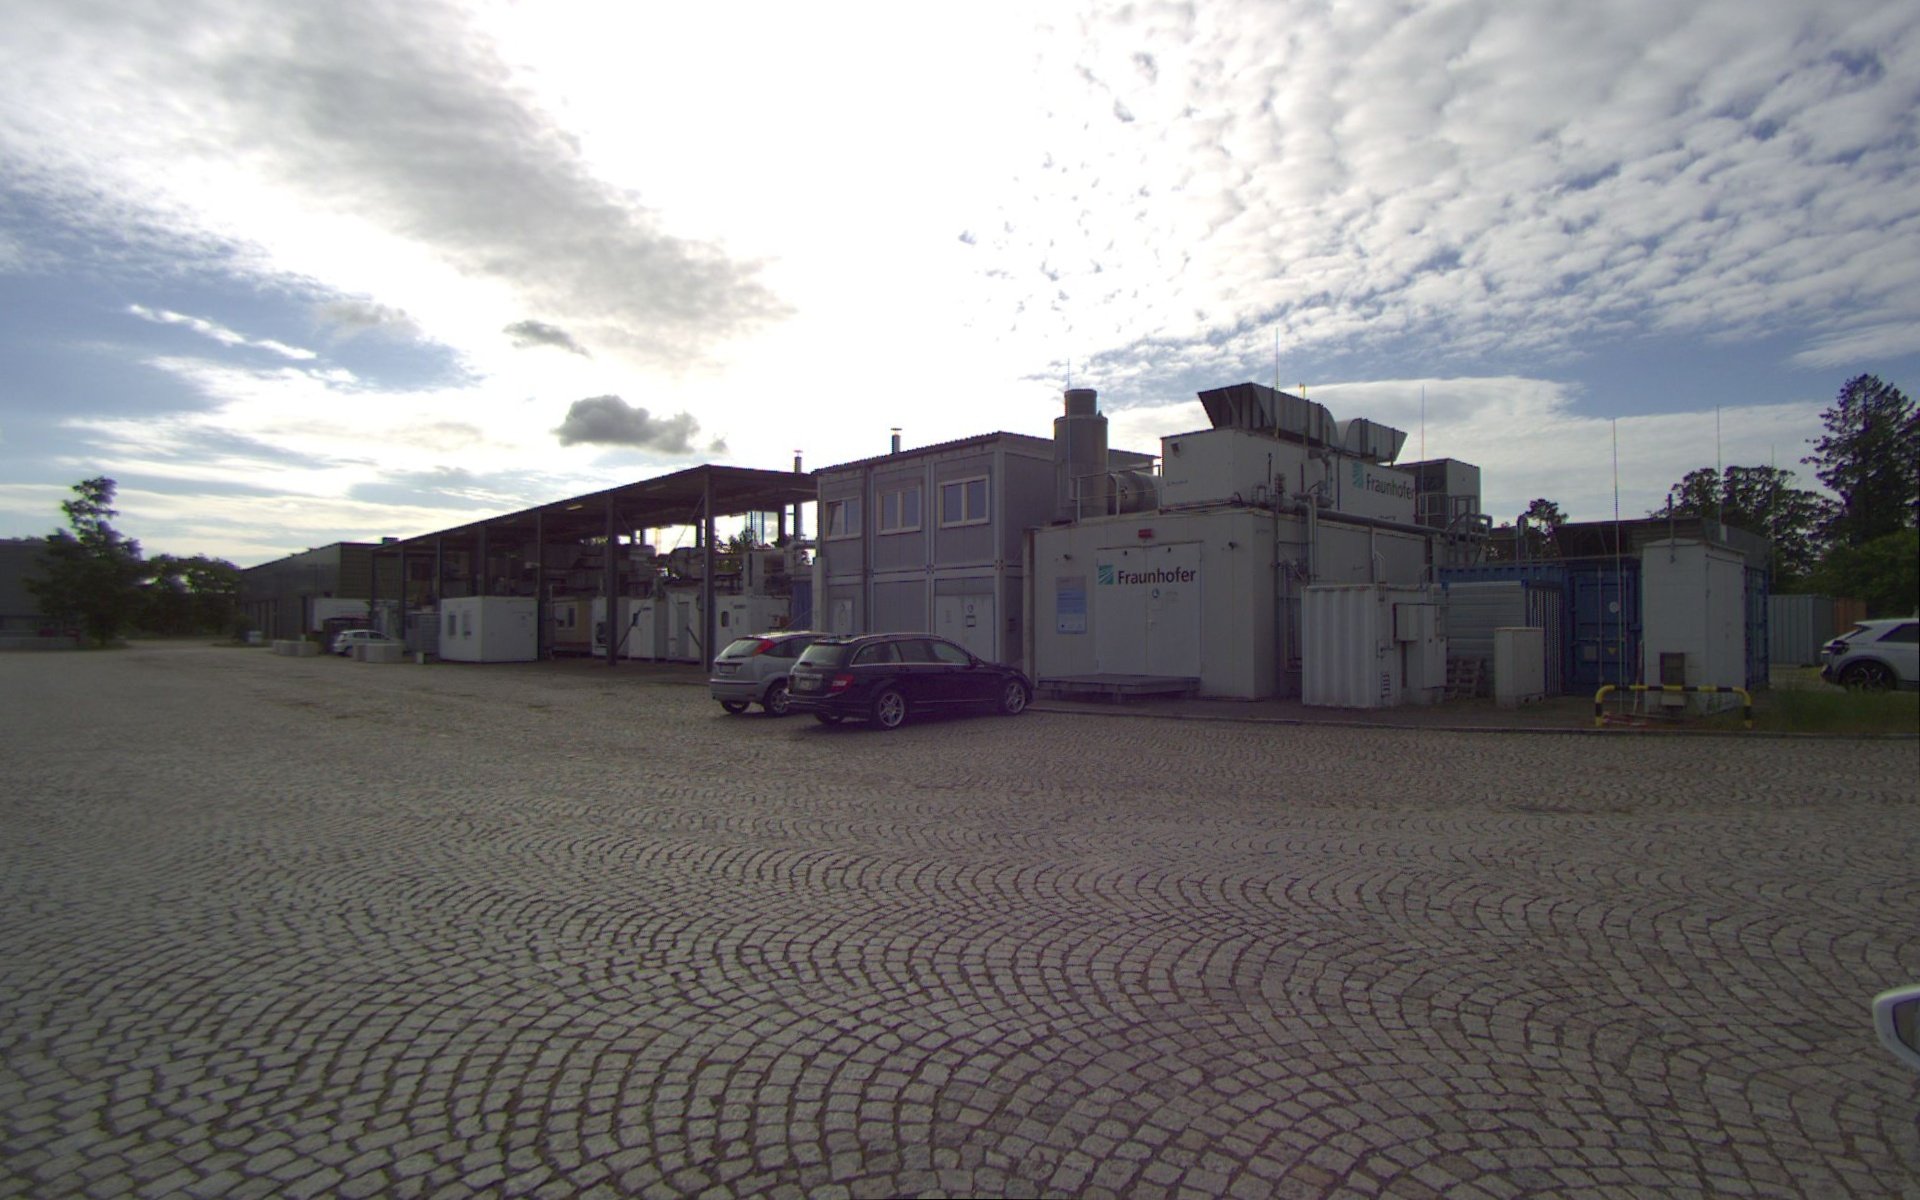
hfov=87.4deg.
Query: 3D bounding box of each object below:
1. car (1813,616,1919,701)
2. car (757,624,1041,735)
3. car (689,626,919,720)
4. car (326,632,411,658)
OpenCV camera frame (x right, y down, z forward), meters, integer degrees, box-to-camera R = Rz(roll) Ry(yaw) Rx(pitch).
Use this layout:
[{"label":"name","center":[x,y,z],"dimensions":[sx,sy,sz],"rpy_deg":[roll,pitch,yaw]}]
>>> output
[{"label":"car","center":[19.585,1.117,19.376],"dimensions":[1.984,1.620,4.496],"rpy_deg":[1,-2,-40]},{"label":"car","center":[-0.901,1.211,16.752],"dimensions":[4.497,1.472,2.017],"rpy_deg":[-1,-1,-44]},{"label":"car","center":[-2.887,1.301,19.200],"dimensions":[1.887,1.495,4.021],"rpy_deg":[-2,-1,45]},{"label":"car","center":[-35.138,2.658,59.703],"dimensions":[3.974,1.512,1.974],"rpy_deg":[2,-3,-45]}]
